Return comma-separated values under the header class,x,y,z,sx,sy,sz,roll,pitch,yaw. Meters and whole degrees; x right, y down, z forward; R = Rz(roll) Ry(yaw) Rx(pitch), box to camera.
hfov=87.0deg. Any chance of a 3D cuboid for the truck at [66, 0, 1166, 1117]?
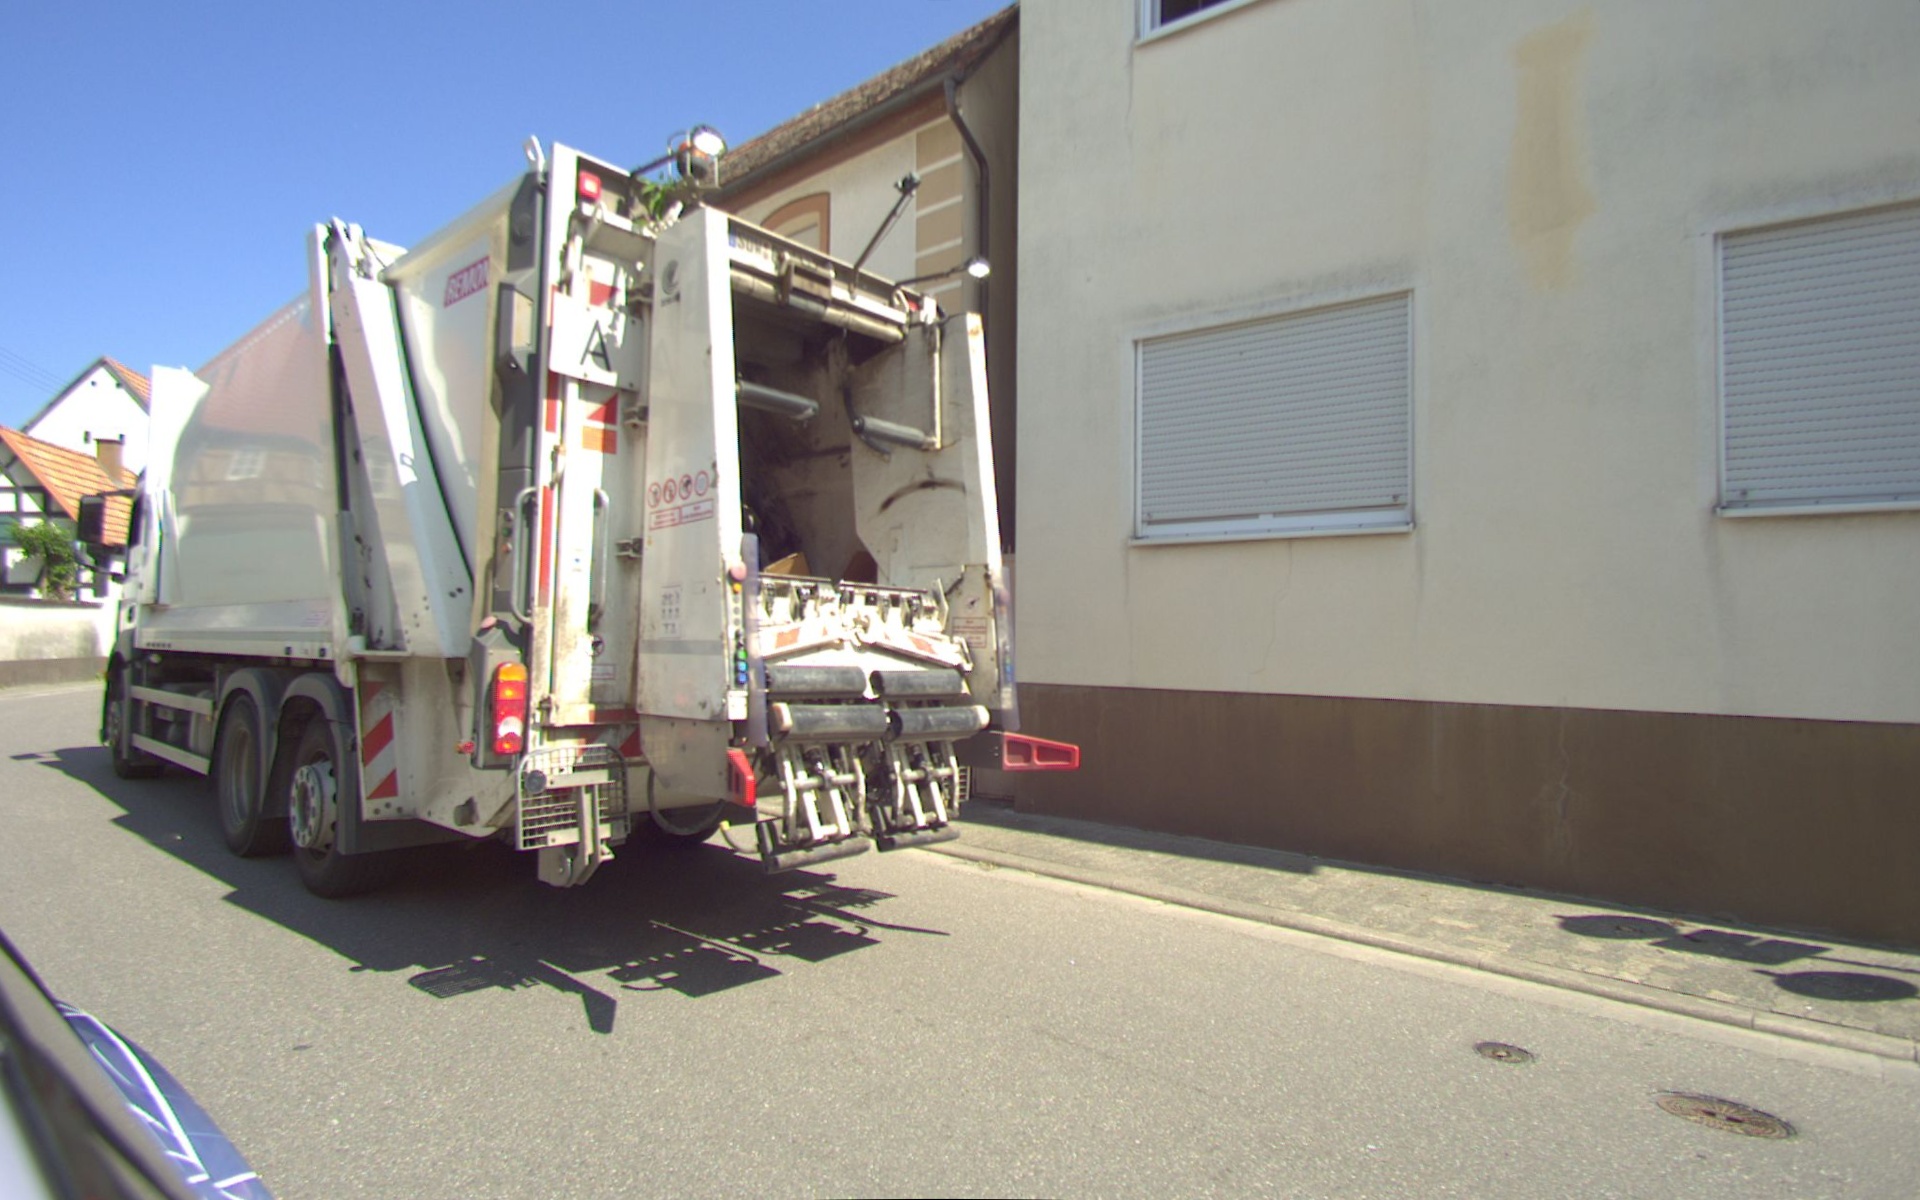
class,x,y,z,sx,sy,sz,roll,pitch,yaw
truck,-3.935,-0.310,7.515,10.866,3.779,2.667,-1,-4,42
